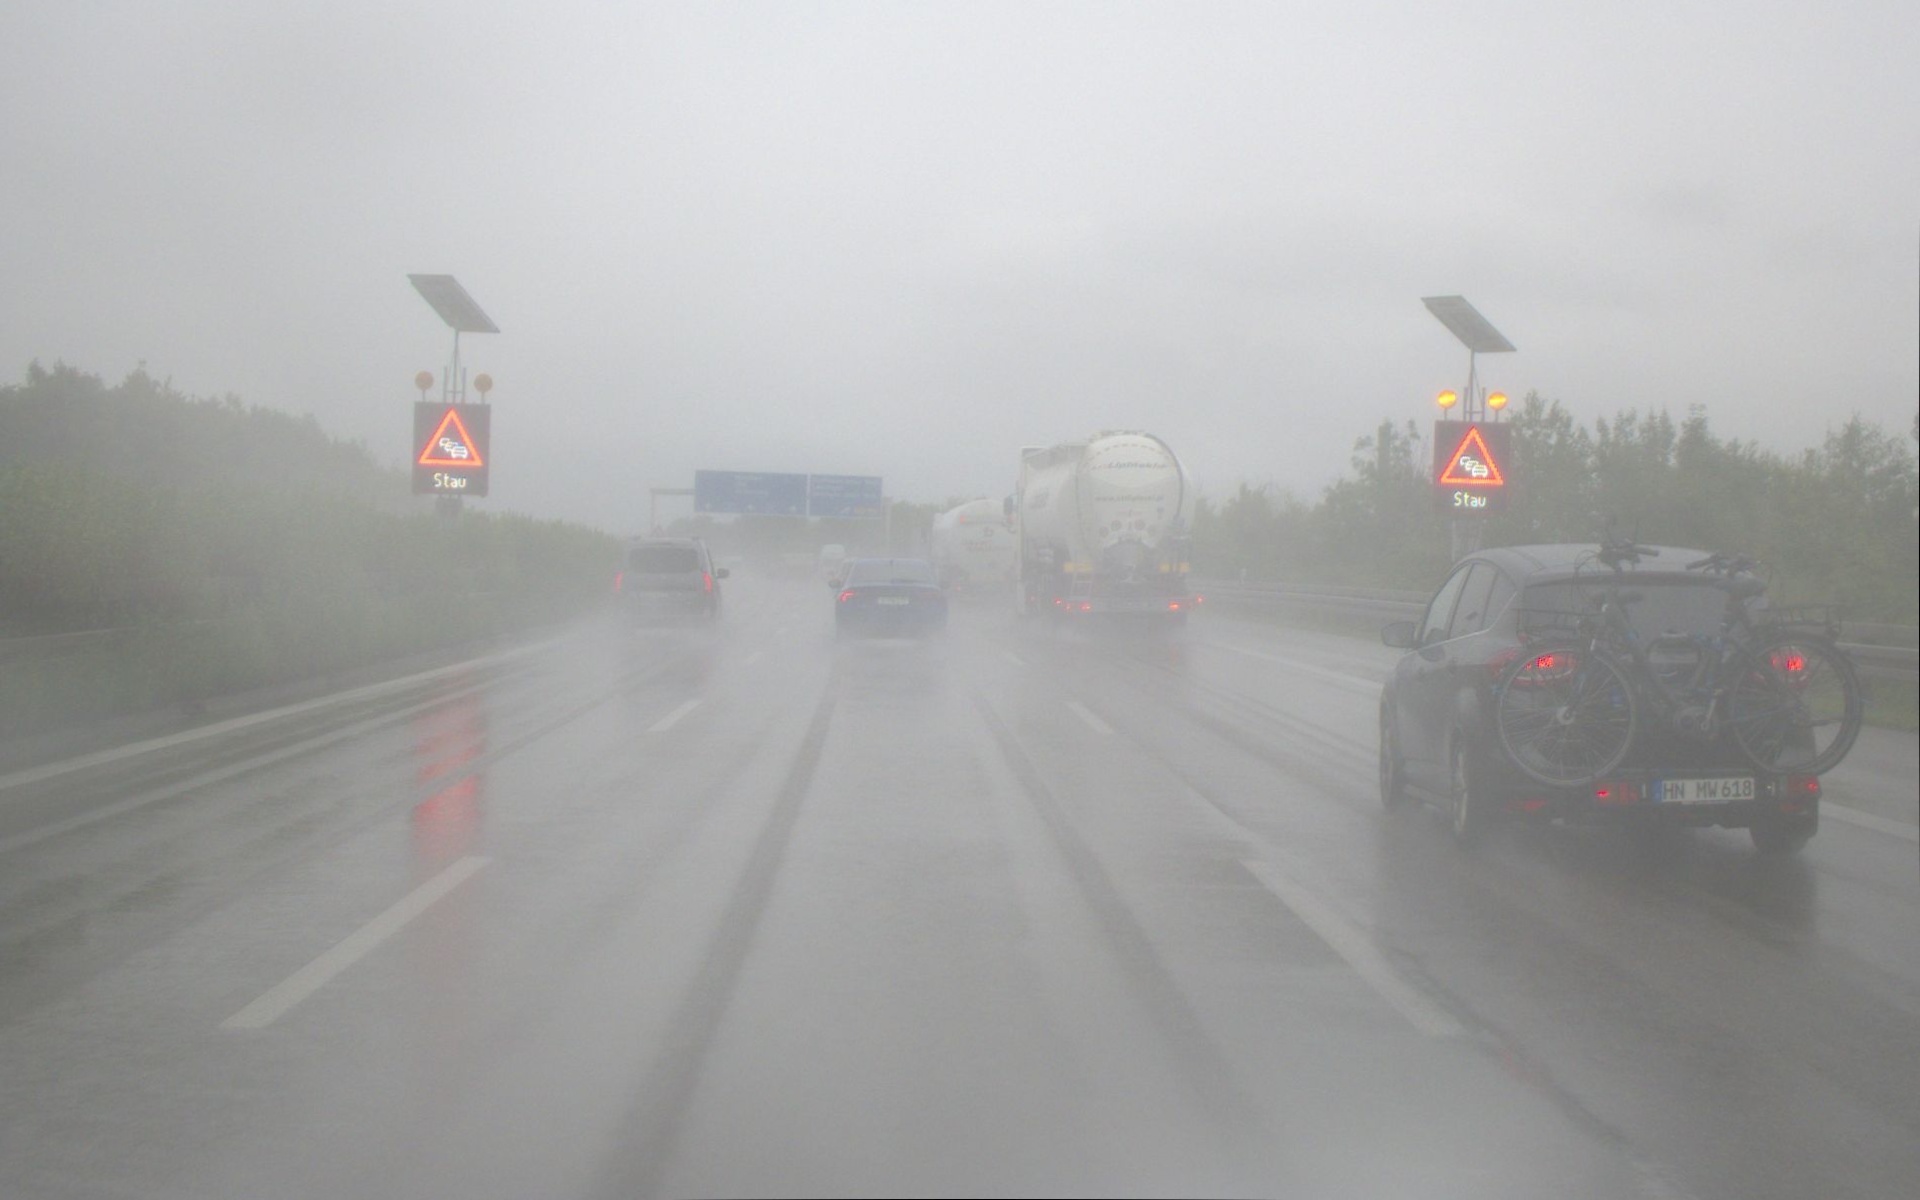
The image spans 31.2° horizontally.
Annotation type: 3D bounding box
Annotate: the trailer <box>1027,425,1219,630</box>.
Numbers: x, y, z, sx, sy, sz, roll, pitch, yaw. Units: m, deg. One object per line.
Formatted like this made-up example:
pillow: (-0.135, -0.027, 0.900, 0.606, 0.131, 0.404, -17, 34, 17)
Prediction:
trailer: (3.054, -1.415, 67.904, 3.188, 3.657, 11.667, 1, 1, 0)

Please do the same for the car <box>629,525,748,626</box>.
car: (-4.865, -0.457, 62.040, 1.925, 1.735, 4.404, 1, 1, -2)

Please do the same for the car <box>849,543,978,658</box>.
car: (-0.739, -0.033, 55.368, 1.978, 1.750, 4.482, 0, 1, 0)

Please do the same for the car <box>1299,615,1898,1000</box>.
car: (3.380, 1.017, 19.552, 2.457, 1.740, 5.719, 1, 1, 1)

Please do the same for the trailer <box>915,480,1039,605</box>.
trailer: (0.478, -1.879, 110.941, 3.004, 3.834, 8.625, 1, 1, -6)
